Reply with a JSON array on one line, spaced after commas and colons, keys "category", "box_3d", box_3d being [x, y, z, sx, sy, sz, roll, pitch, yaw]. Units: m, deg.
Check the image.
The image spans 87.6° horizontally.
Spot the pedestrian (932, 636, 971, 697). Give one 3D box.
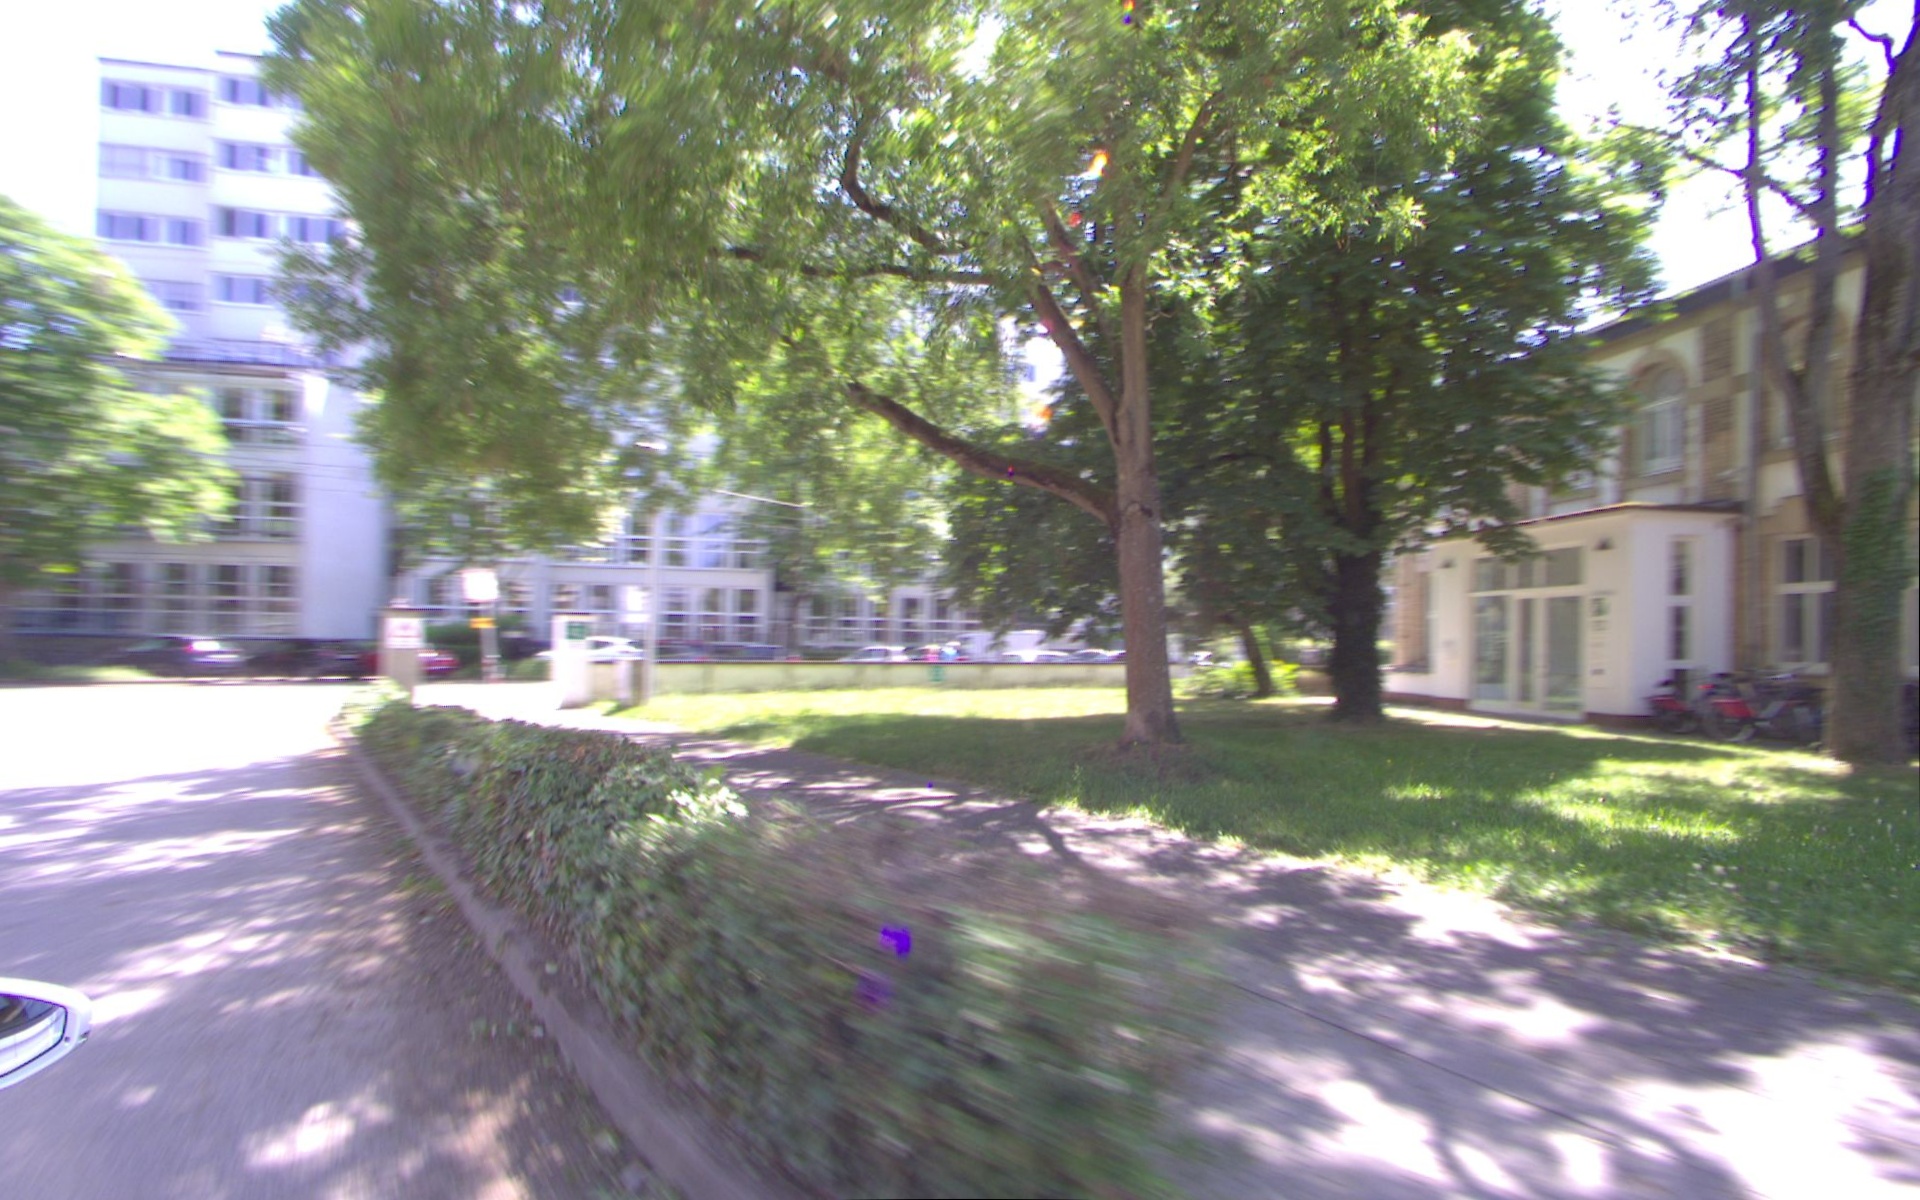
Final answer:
[{"category": "pedestrian", "box_3d": [-0.224, 1.770, 26.632, 0.724, 1.609, 0.736, 2, -4, -36]}]

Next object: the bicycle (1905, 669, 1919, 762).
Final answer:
[{"category": "bicycle", "box_3d": [12.892, 1.454, 12.489, 1.807, 1.157, 0.589, 1, -2, -7]}]

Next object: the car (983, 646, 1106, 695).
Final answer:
[{"category": "car", "box_3d": [2.792, 2.278, 32.848, 3.890, 1.482, 1.694, 2, -2, -36]}]

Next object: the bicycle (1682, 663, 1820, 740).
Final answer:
[{"category": "bicycle", "box_3d": [12.274, 1.568, 15.555, 1.807, 1.157, 0.589, 1, -2, -7]}]

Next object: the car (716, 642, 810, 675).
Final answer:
[{"category": "car", "box_3d": [-8.506, 2.509, 43.321, 3.674, 1.321, 1.612, 0, -2, 13]}]

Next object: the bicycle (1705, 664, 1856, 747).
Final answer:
[{"category": "bicycle", "box_3d": [12.131, 1.551, 14.826, 1.806, 1.157, 0.590, 1, -1, -3]}]

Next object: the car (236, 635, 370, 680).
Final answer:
[{"category": "car", "box_3d": [-22.192, 1.927, 33.865, 3.607, 1.463, 1.612, 0, -2, 8]}]

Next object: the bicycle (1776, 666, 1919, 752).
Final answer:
[{"category": "bicycle", "box_3d": [12.634, 1.536, 14.173, 1.807, 1.157, 0.589, 1, -2, -7]}]

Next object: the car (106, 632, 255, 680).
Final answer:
[{"category": "car", "box_3d": [-24.927, 1.783, 32.080, 3.606, 1.482, 1.645, 0, -2, 6]}]

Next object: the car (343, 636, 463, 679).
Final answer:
[{"category": "car", "box_3d": [-19.901, 2.038, 35.838, 3.535, 1.455, 1.612, 0, -2, 12]}]

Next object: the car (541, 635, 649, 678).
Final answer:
[{"category": "car", "box_3d": [-14.392, 2.214, 39.580, 3.672, 1.640, 1.613, 0, -2, 6]}]

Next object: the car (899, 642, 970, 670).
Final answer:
[{"category": "car", "box_3d": [-1.248, 2.742, 49.389, 3.300, 1.307, 1.535, 0, -2, 6]}]

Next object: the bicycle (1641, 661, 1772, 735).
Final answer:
[{"category": "bicycle", "box_3d": [12.132, 1.582, 16.291, 1.807, 1.157, 0.589, 1, -2, -7]}]

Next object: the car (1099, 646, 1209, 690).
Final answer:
[{"category": "car", "box_3d": [6.958, 2.394, 35.726, 3.890, 1.482, 1.694, 2, -2, -36]}]

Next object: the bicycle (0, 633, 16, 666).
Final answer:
[{"category": "bicycle", "box_3d": [-34.263, 1.720, 34.953, 0.768, 1.172, 2.383, 1, -2, -13]}]

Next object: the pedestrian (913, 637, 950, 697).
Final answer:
[{"category": "pedestrian", "box_3d": [-0.796, 1.849, 27.645, 0.723, 1.609, 0.737, 1, -4, -34]}]

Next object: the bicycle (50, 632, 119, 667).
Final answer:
[{"category": "bicycle", "box_3d": [-31.198, 1.750, 35.733, 0.768, 1.203, 2.430, 1, -2, -13]}]

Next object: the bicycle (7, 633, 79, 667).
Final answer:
[{"category": "bicycle", "box_3d": [-32.371, 1.756, 35.407, 0.768, 1.172, 2.383, 1, -2, -13]}]

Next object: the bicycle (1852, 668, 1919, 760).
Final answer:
[{"category": "bicycle", "box_3d": [12.786, 1.486, 13.129, 1.807, 1.157, 0.589, 1, -2, -7]}]

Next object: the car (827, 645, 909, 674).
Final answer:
[{"category": "car", "box_3d": [-4.324, 2.793, 47.556, 3.672, 1.307, 1.613, 0, -2, 4]}]

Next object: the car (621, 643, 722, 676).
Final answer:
[{"category": "car", "box_3d": [-11.924, 2.444, 41.435, 3.674, 1.297, 1.612, 0, -2, 12]}]

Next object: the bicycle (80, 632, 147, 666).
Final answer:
[{"category": "bicycle", "box_3d": [-30.325, 1.747, 35.911, 0.768, 1.203, 2.430, 1, -2, -13]}]

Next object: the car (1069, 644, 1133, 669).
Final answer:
[{"category": "car", "box_3d": [7.715, 3.087, 54.691, 3.280, 1.307, 1.496, 0, -2, 17]}]

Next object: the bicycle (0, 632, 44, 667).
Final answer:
[{"category": "bicycle", "box_3d": [-33.414, 1.727, 35.143, 0.768, 1.172, 2.383, 1, -2, -13]}]

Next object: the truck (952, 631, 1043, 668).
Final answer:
[{"category": "truck", "box_3d": [1.929, 2.506, 51.083, 4.554, 1.856, 1.656, 0, -2, 6]}]
